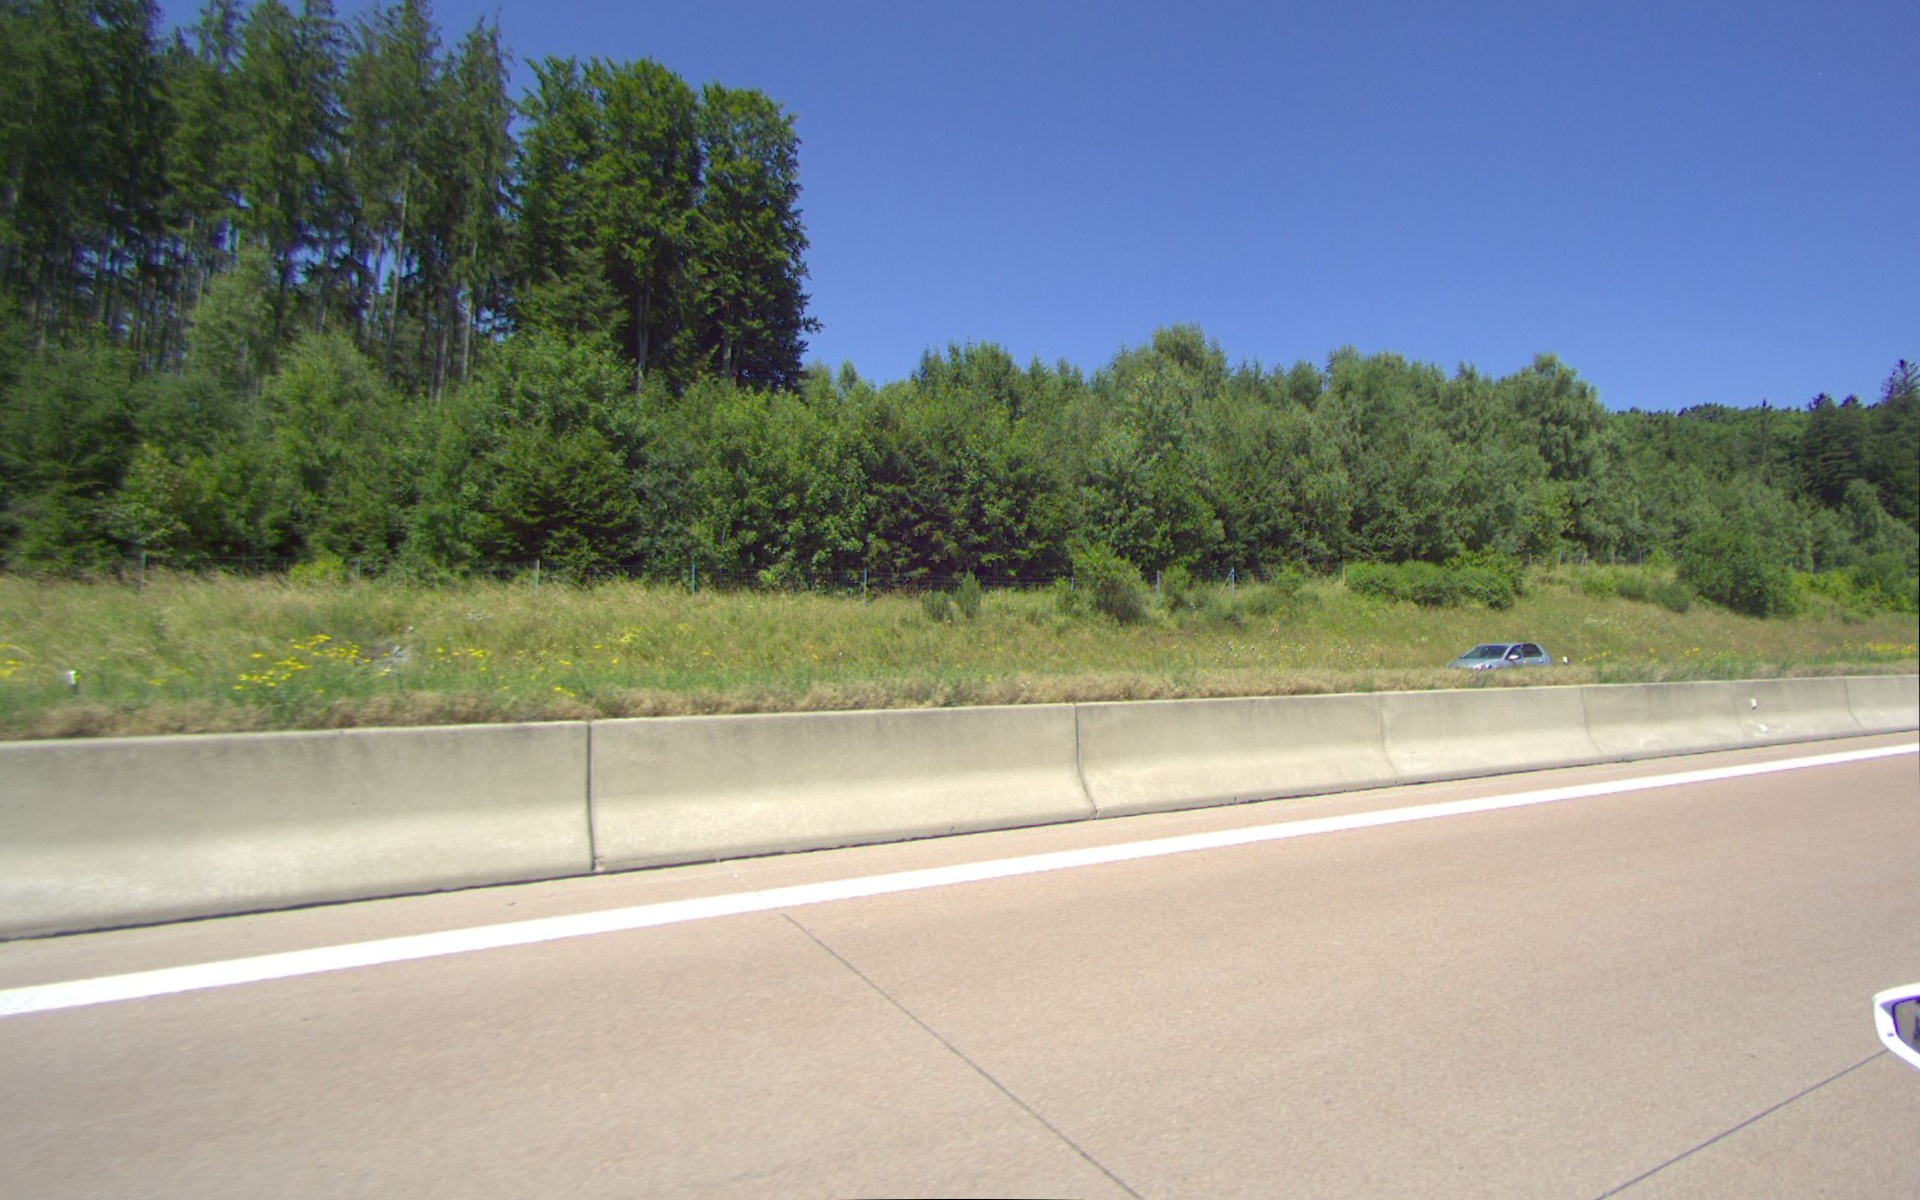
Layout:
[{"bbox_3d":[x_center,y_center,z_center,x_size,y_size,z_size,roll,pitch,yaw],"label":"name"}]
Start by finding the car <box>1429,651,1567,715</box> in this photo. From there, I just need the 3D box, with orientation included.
[{"bbox_3d":[16.874,2.538,31.448,4.415,1.762,1.880,1,-1,-32],"label":"car"}]
